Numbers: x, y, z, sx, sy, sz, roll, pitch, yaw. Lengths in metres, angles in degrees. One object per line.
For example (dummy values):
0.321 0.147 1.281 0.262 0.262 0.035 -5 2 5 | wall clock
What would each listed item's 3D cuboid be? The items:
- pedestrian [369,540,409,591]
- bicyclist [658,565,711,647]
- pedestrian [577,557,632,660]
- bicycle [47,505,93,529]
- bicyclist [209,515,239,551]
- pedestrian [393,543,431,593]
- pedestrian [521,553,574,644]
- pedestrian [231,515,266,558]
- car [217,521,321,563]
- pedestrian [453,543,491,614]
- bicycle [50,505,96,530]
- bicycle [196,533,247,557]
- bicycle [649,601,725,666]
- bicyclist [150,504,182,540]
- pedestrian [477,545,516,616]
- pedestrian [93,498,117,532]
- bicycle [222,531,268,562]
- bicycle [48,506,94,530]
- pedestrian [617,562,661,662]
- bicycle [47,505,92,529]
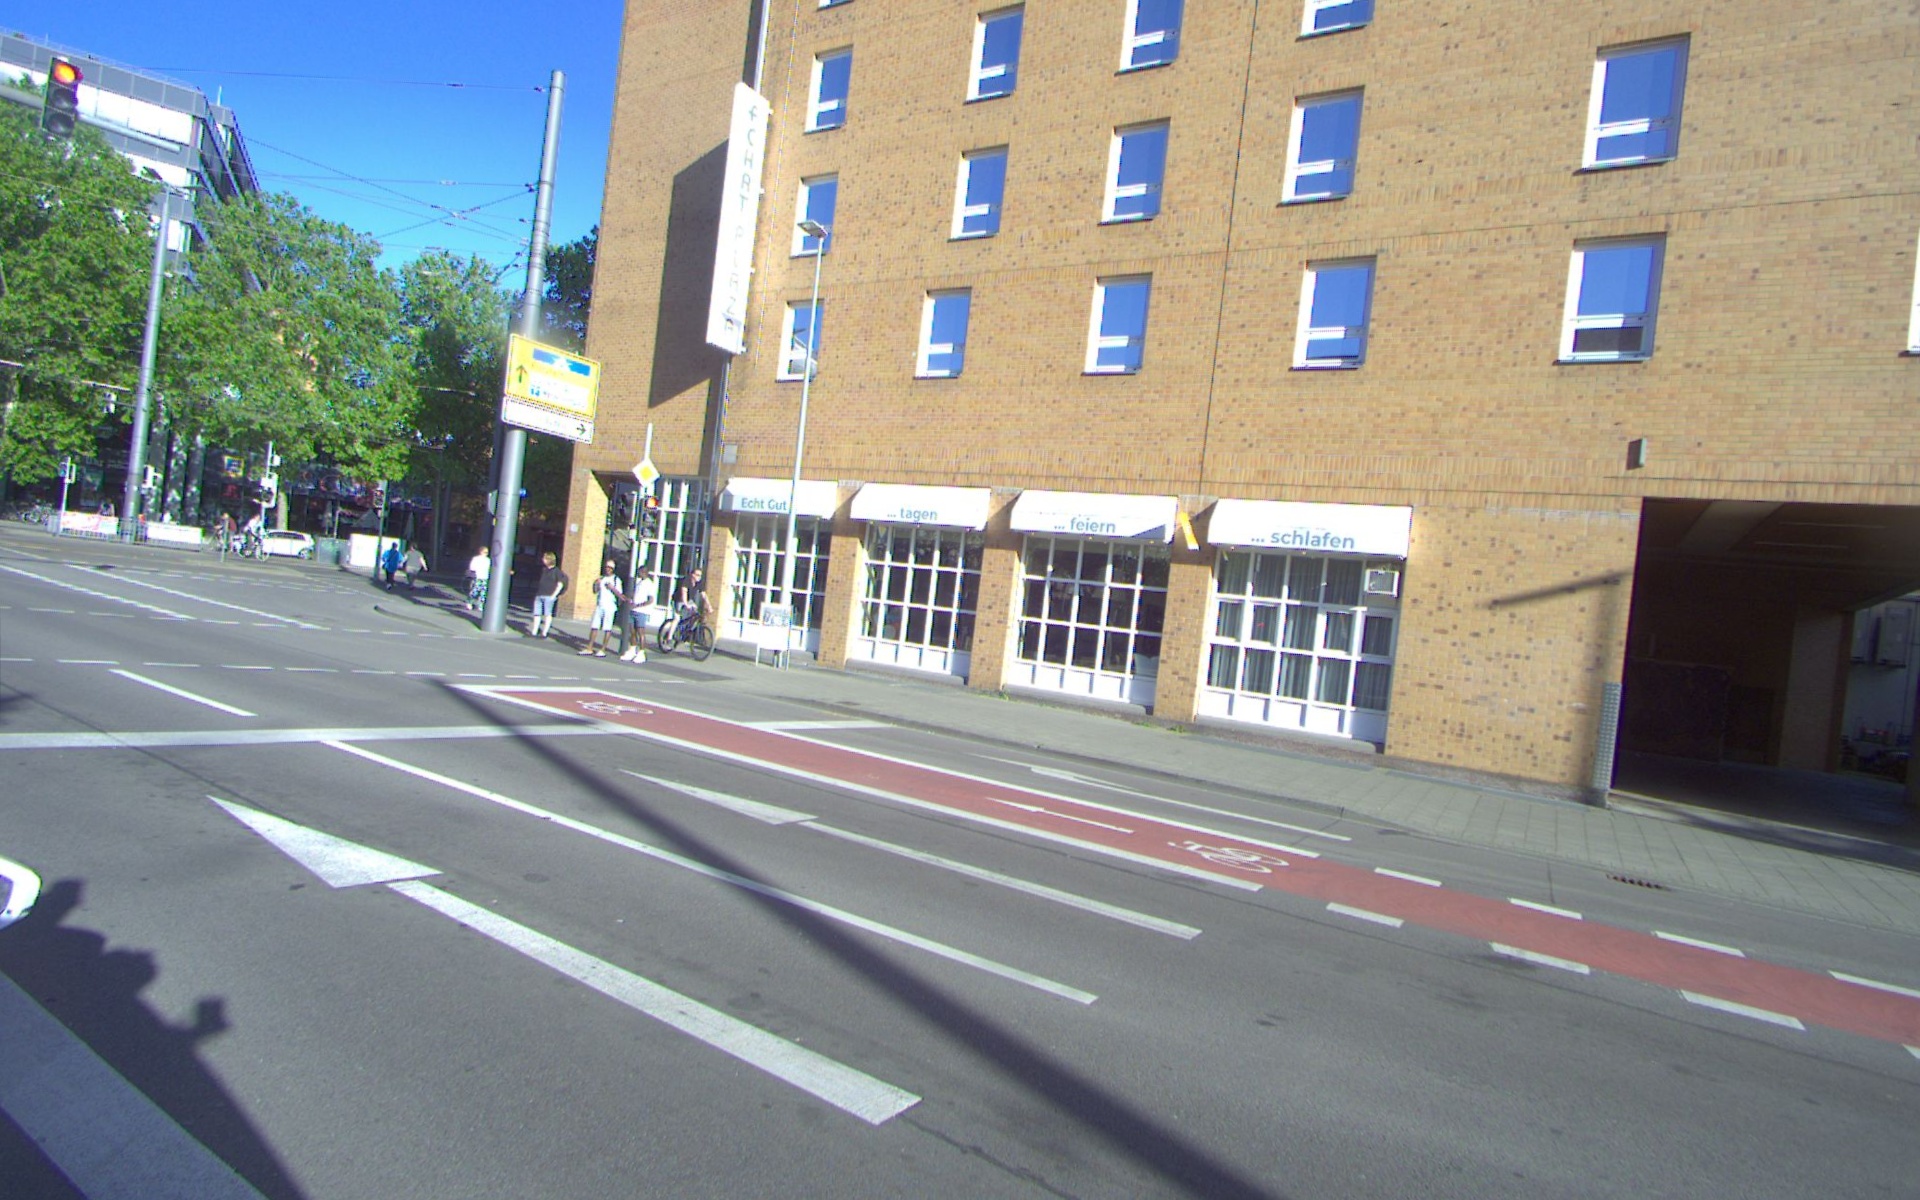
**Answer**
-18.678 -1.122 32.931 0.729 1.557 0.677 7 -1 24 | pedestrian
-5.483 0.111 20.005 0.576 1.536 0.839 1 6 -44 | bicyclist
-6.692 0.151 18.967 0.719 1.857 0.497 5 2 -3 | pedestrian
-46.656 -4.334 52.752 1.700 0.998 0.386 7 0 -45 | bicycle
-36.244 -3.291 49.559 0.627 1.635 0.926 7 0 35 | bicyclist
-18.374 -1.062 33.746 0.729 1.557 0.652 7 -1 24 | pedestrian
-8.553 -0.029 20.888 0.683 1.789 0.573 8 0 -9 | pedestrian
-29.093 -2.599 41.135 0.824 1.612 0.771 6 -1 31 | pedestrian
-36.348 -3.029 52.975 1.969 1.503 3.990 6 -2 36 | car
-12.489 -0.561 25.743 0.559 1.723 0.651 8 -1 -41 | pedestrian
-45.402 -4.206 51.506 1.700 0.998 0.386 7 0 -45 | bicycle
-36.363 -2.713 49.540 0.642 0.921 1.854 7 -1 36 | bicycle
-5.437 0.645 19.955 0.598 1.065 1.857 1 5 -44 | bicycle
-47.783 -4.671 60.540 0.824 1.955 1.223 7 0 45 | bicyclist
-12.050 -0.511 26.138 0.599 1.747 0.596 8 -1 -40 | pedestrian
-50.700 -5.024 59.663 0.845 1.873 0.799 10 -2 -44 | pedestrian
-29.238 -2.196 41.141 1.891 1.064 0.791 6 -2 32 | bicycle
-46.022 -4.234 52.088 1.700 0.998 0.386 7 0 -45 | bicycle
-5.977 0.227 18.721 0.570 1.797 0.403 7 2 39 | pedestrian
-46.972 -4.373 53.101 1.700 0.998 0.386 7 0 -45 | bicycle
